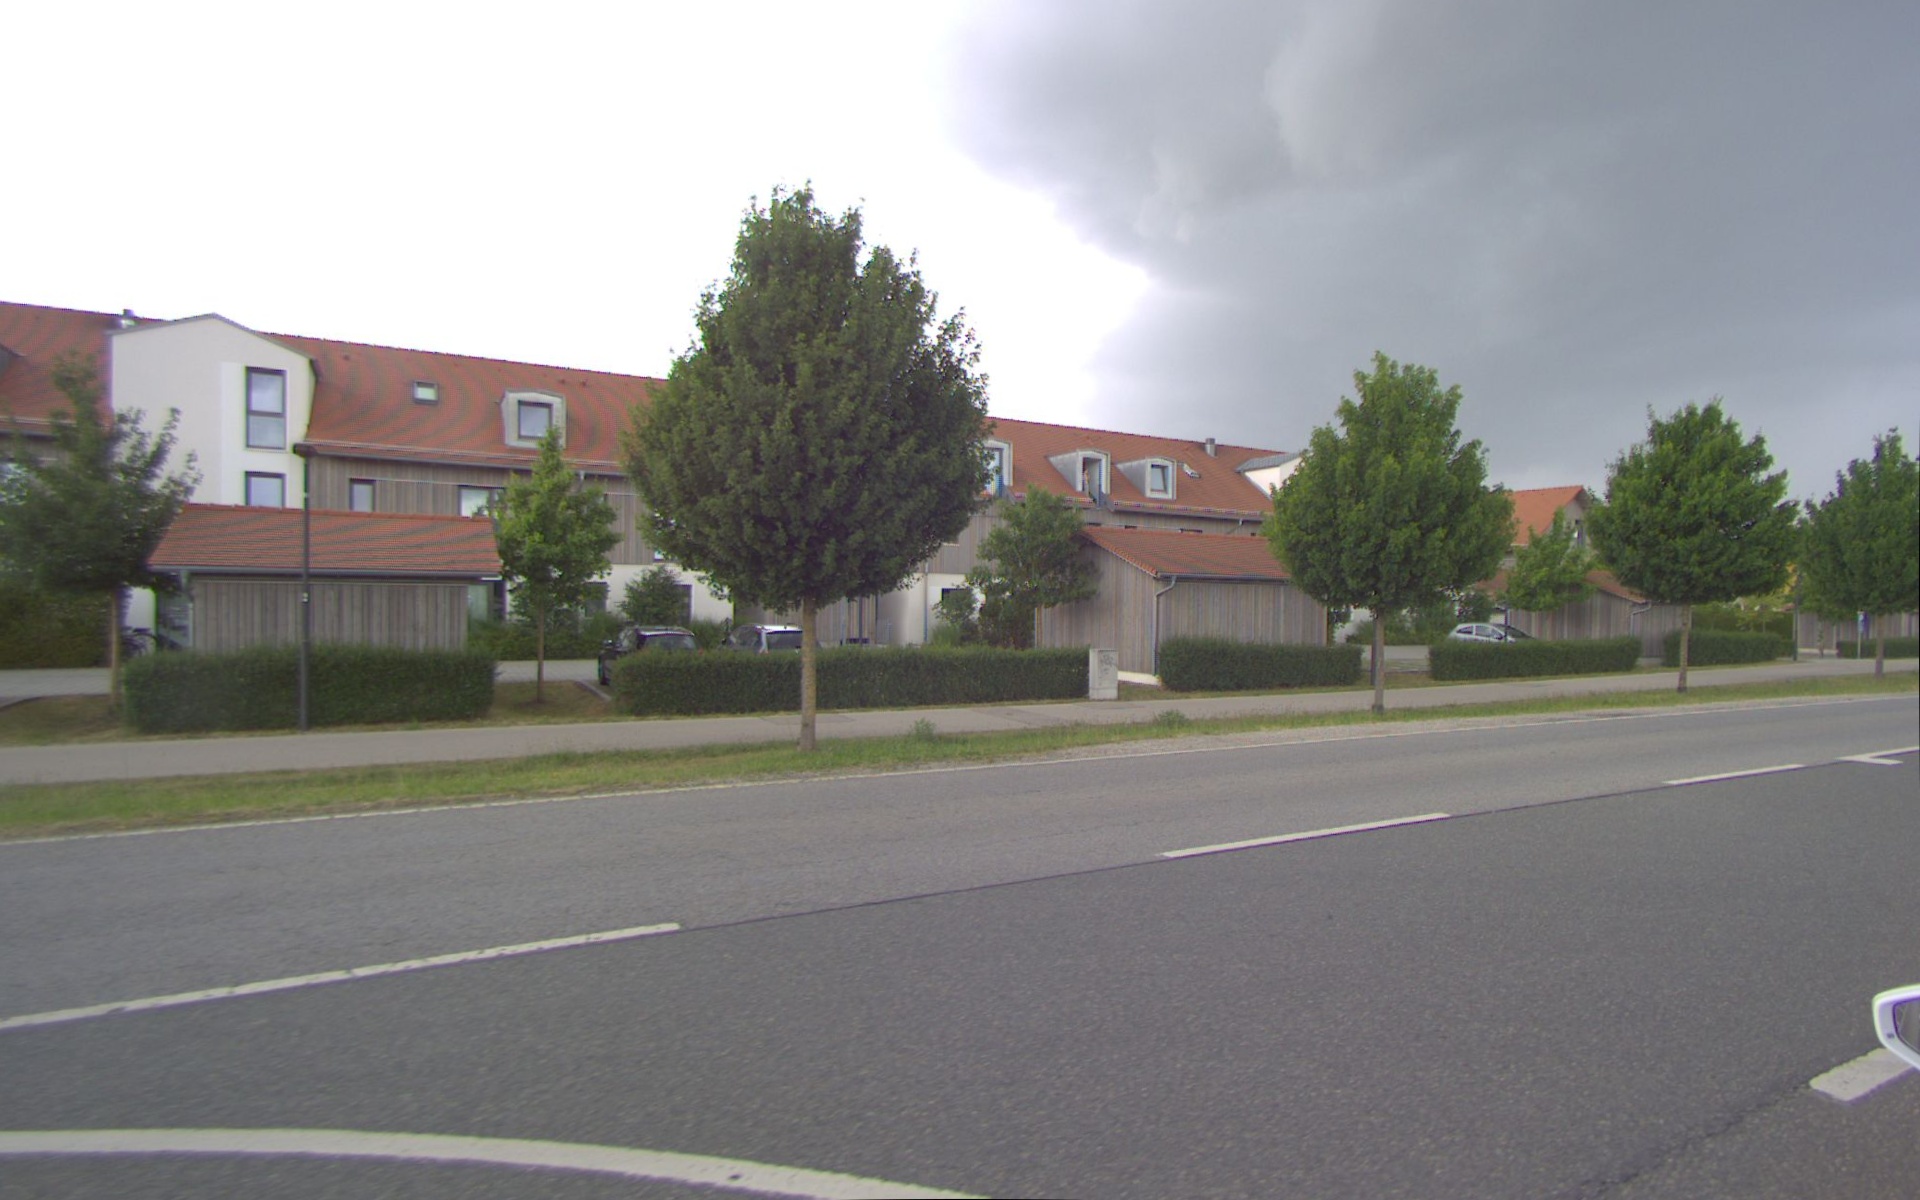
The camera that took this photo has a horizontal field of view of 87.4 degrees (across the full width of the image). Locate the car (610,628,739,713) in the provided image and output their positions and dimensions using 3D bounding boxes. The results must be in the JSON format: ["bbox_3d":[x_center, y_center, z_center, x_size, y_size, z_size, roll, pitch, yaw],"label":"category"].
[{"bbox_3d":[-6.360,1.455,22.092,1.975,1.639,3.971,1,-1,-28],"label":"car"}]

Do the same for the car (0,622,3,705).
[{"bbox_3d":[-17.305,1.109,16.444,1.545,1.509,3.498,1,-1,-30],"label":"car"}]

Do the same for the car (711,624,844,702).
[{"bbox_3d":[-4.364,1.398,23.512,1.975,1.639,3.971,1,-1,-28],"label":"car"}]

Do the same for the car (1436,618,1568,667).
[{"bbox_3d":[20.561,1.563,38.279,1.975,1.577,3.970,1,2,-28],"label":"car"}]
